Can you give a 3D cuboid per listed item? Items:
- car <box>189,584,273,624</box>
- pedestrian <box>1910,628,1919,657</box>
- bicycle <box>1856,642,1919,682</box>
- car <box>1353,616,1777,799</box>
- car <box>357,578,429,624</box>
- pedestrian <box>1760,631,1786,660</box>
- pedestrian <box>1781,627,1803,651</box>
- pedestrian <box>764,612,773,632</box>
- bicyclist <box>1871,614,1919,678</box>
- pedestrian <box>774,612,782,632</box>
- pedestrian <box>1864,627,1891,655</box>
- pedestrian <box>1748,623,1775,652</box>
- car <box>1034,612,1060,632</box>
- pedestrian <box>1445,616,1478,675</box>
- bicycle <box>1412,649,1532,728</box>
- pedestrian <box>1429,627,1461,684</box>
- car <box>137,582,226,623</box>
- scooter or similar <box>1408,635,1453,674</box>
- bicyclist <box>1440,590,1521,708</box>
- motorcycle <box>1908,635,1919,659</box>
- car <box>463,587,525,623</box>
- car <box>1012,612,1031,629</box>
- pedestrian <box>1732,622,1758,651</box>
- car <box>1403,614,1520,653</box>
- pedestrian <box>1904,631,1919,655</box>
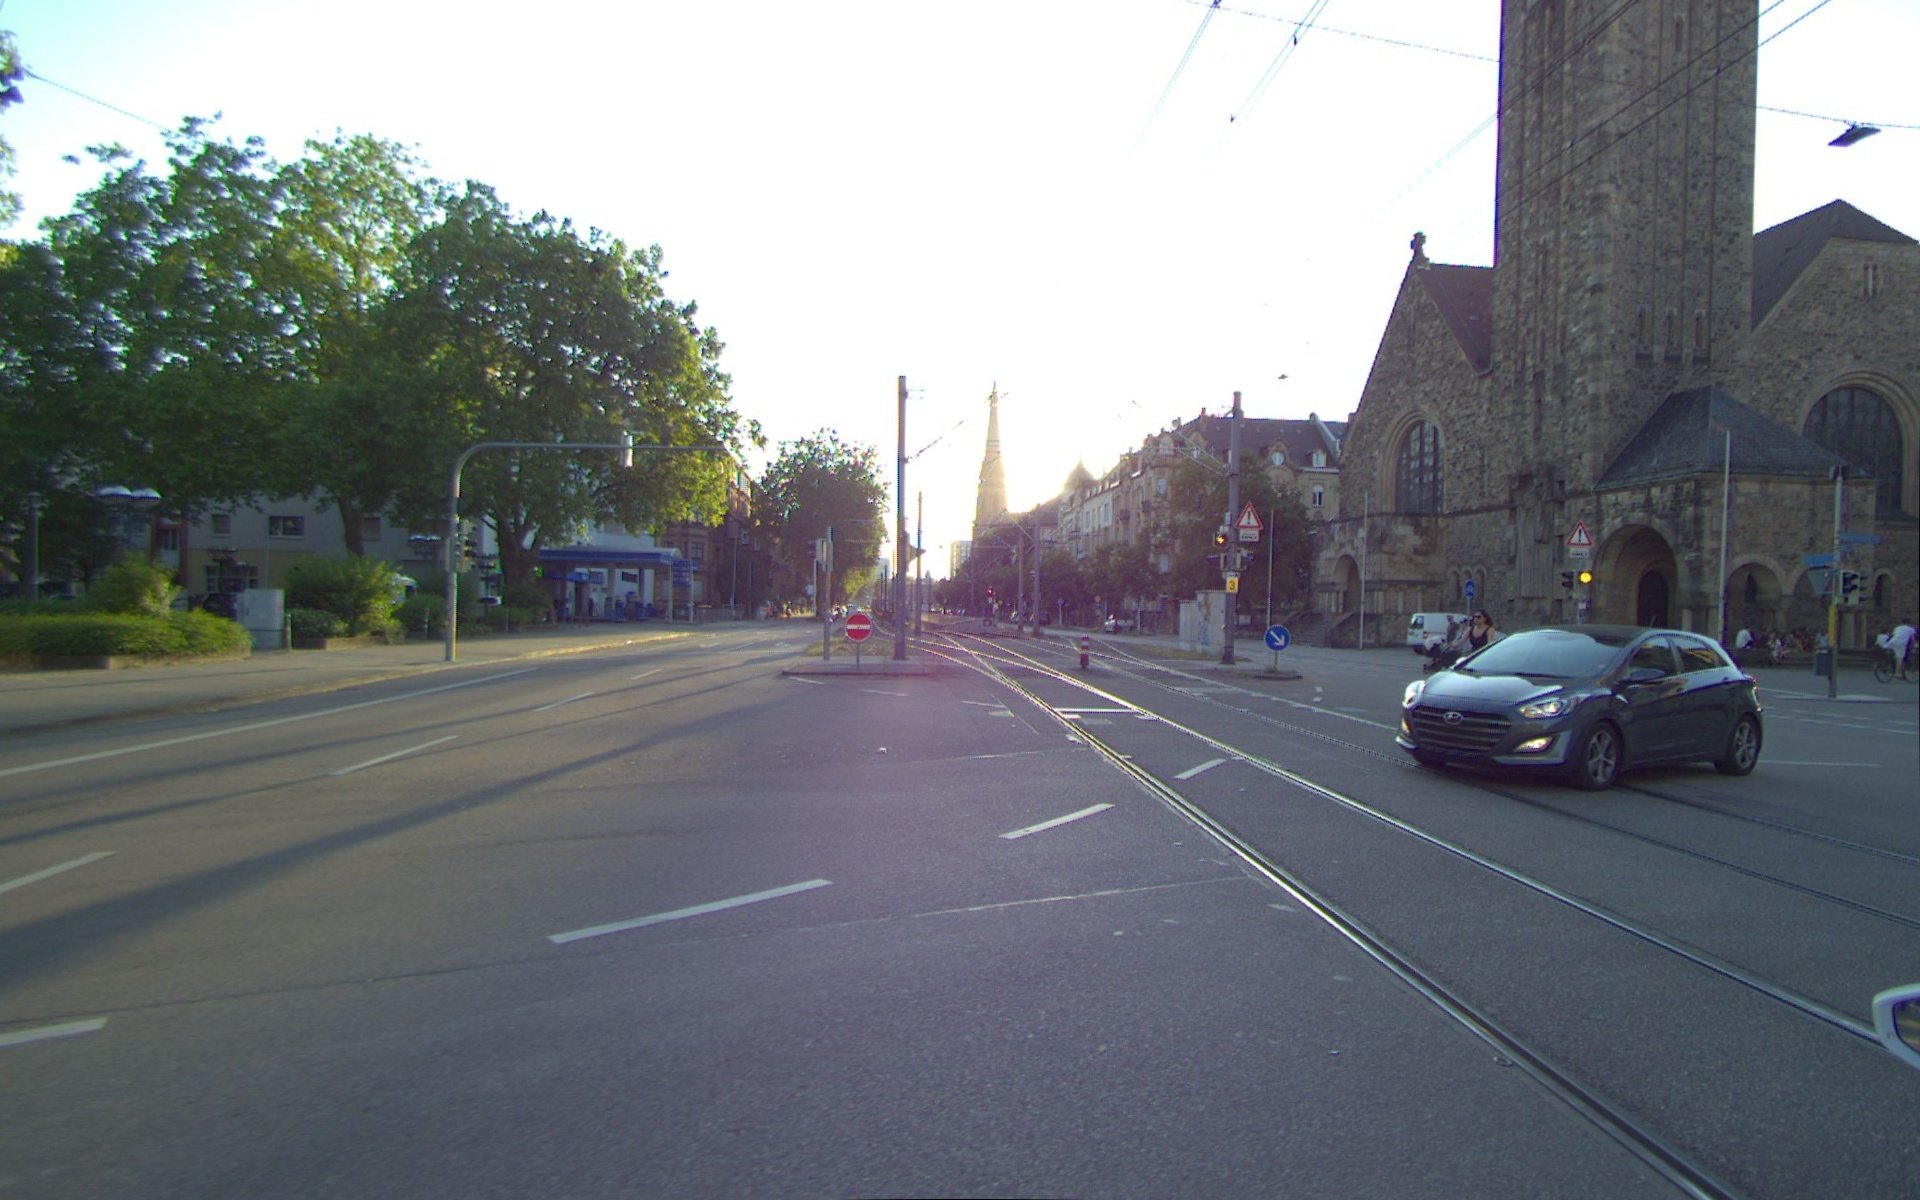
[{"bbox_3d":[-39.631,0.207,54.718,1.963,2.040,3.995,2,0,-7],"label":"car"},{"bbox_3d":[33.461,1.480,34.965,0.476,0.973,0.516,1,0,-44],"label":"pedestrian"},{"bbox_3d":[27.658,1.833,29.718,2.209,1.092,0.656,2,0,-17],"label":"bicycle"},{"bbox_3d":[6.140,0.928,10.127,4.091,1.496,1.984,1,-1,-30],"label":"car"},{"bbox_3d":[-31.010,0.046,55.049,1.963,2.375,3.996,2,0,-6],"label":"car"},{"bbox_3d":[28.483,1.595,35.196,0.513,0.973,0.479,2,0,1],"label":"pedestrian"},{"bbox_3d":[34.916,1.627,42.157,0.703,0.973,0.548,2,0,-36],"label":"pedestrian"},{"bbox_3d":[-20.430,2.332,107.364,0.837,2.040,0.712,2,0,-9],"label":"pedestrian"},{"bbox_3d":[27.666,1.347,29.712,0.845,1.852,0.656,2,0,-16],"label":"bicyclist"},{"bbox_3d":[-19.478,2.331,107.474,0.837,2.040,0.712,2,0,-9],"label":"pedestrian"},{"bbox_3d":[33.036,1.466,36.181,0.471,0.973,0.522,2,0,-11],"label":"pedestrian"},{"bbox_3d":[27.544,1.285,34.512,0.471,0.973,0.522,2,0,-9],"label":"pedestrian"},{"bbox_3d":[9.570,2.456,110.599,1.964,2.040,3.993,2,0,-9],"label":"car"},{"bbox_3d":[15.144,1.366,30.340,0.593,1.721,0.633,2,0,-18],"label":"pedestrian"},{"bbox_3d":[7.455,1.259,14.592,1.923,1.057,0.596,2,0,-31],"label":"bicycle"},{"bbox_3d":[14.962,1.717,31.002,0.593,1.721,0.633,2,0,-17],"label":"pedestrian"},{"bbox_3d":[-41.952,0.131,54.226,1.963,2.040,3.995,2,0,-7],"label":"car"},{"bbox_3d":[14.184,1.636,30.268,1.061,1.118,0.633,2,0,-18],"label":"scooter or similar"},{"bbox_3d":[7.616,0.702,14.692,0.952,1.666,0.596,2,0,-30],"label":"bicyclist"},{"bbox_3d":[42.089,2.070,42.893,0.700,1.001,2.230,2,0,-34],"label":"motorcycle"},{"bbox_3d":[-25.773,0.247,55.711,1.882,1.873,3.996,2,0,-6],"label":"car"},{"bbox_3d":[7.702,2.597,126.374,1.961,2.040,3.999,2,0,-2],"label":"car"},{"bbox_3d":[27.490,1.283,35.194,0.471,0.973,0.522,2,0,-9],"label":"pedestrian"},{"bbox_3d":[22.143,1.465,44.431,4.371,1.537,1.718,2,0,-5],"label":"car"},{"bbox_3d":[39.582,1.781,41.487,0.696,0.973,0.553,2,0,-8],"label":"pedestrian"}]
